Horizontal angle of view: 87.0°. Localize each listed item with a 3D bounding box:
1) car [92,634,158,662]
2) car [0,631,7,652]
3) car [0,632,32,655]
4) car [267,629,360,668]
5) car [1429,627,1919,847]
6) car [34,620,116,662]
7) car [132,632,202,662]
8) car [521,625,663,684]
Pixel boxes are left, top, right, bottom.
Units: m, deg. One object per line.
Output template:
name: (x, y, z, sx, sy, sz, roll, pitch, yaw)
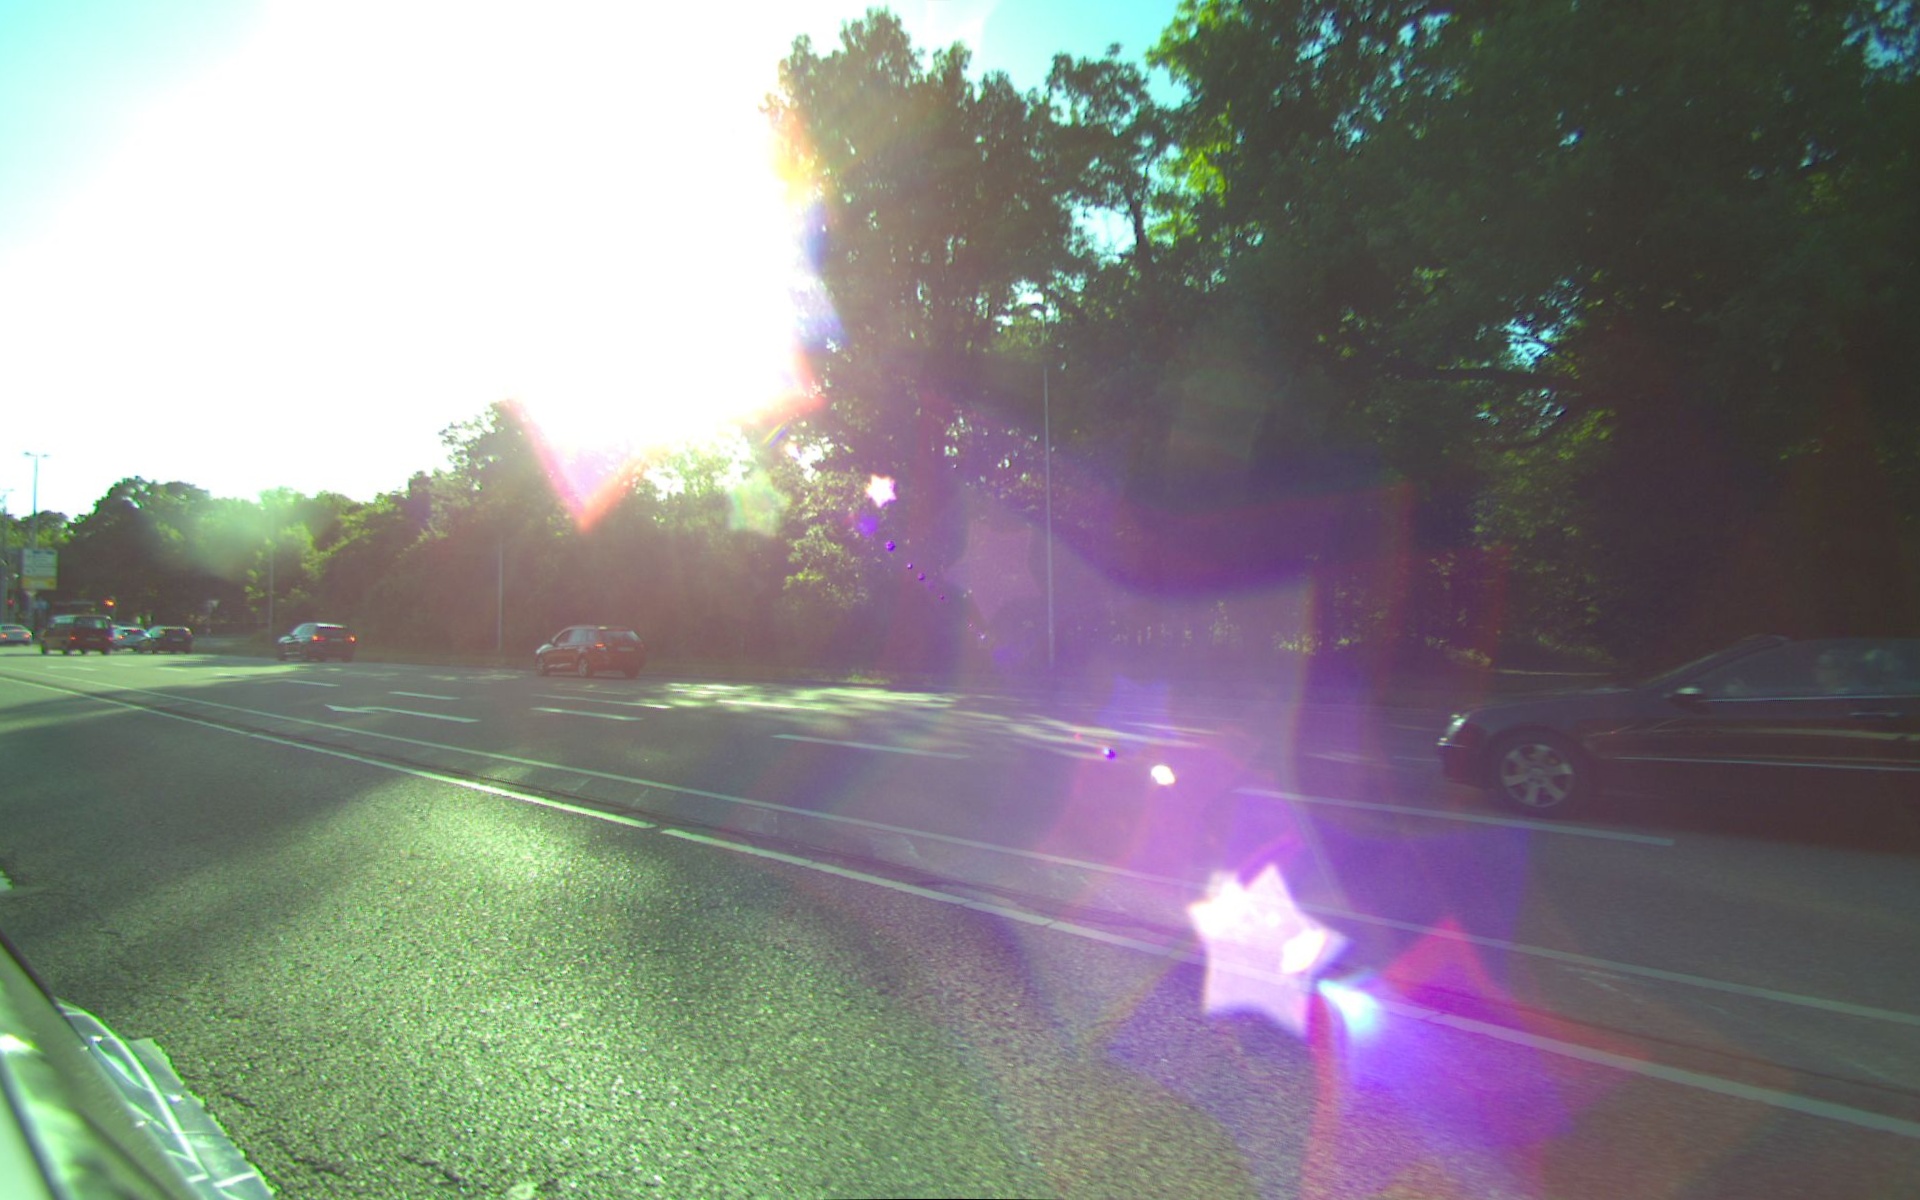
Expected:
car: (-51.940, 2.983, 62.896, 4.638, 1.576, 1.976, -1, -5, 36)
car: (-70.422, 2.948, 72.547, 4.828, 1.462, 1.978, -1, -3, 33)
car: (-64.500, 2.908, 68.168, 4.637, 1.462, 1.976, -1, -3, 35)
car: (-28.628, 2.098, 44.760, 4.837, 1.649, 1.974, -1, -3, 38)
car: (5.775, 0.803, 6.585, 4.669, 1.244, 1.726, -2, -3, 40)
car: (-43.955, 2.029, 50.249, 4.637, 1.977, 1.976, -1, -3, 35)
car: (-45.088, 2.665, 57.509, 4.641, 1.576, 1.974, -1, -5, 38)
car: (-10.760, 1.542, 29.465, 4.334, 1.576, 1.973, -2, -3, 40)
